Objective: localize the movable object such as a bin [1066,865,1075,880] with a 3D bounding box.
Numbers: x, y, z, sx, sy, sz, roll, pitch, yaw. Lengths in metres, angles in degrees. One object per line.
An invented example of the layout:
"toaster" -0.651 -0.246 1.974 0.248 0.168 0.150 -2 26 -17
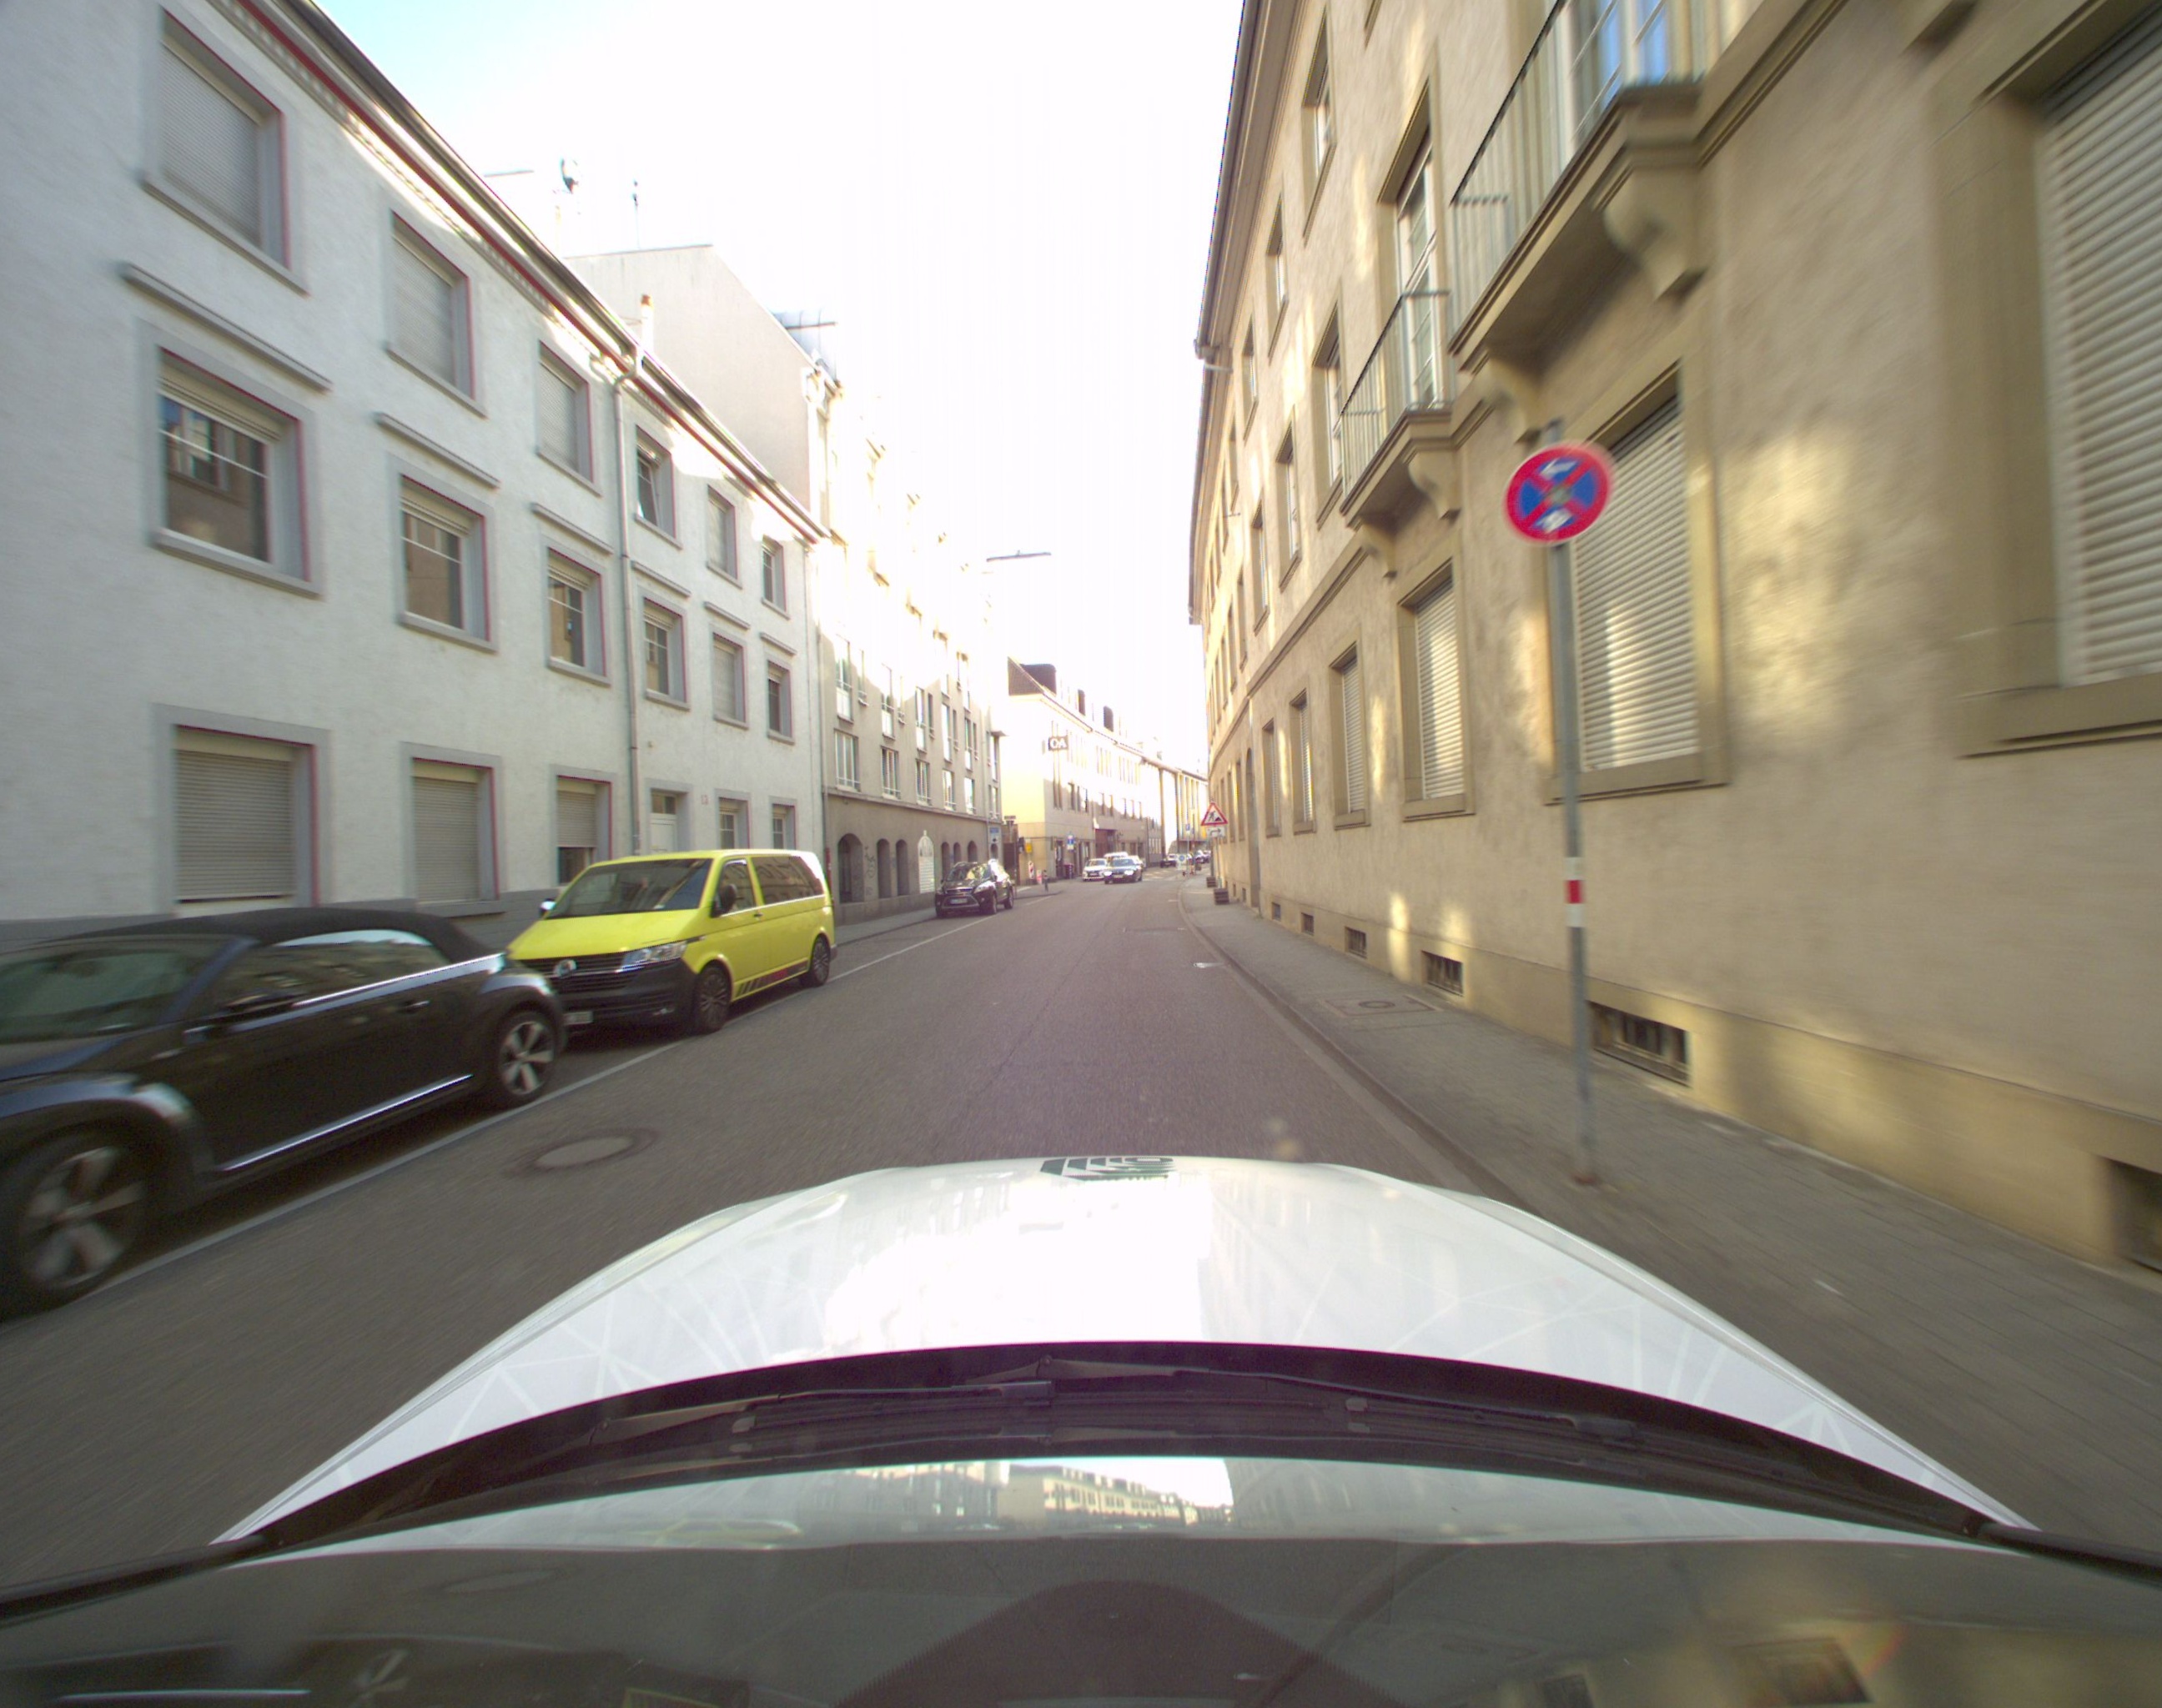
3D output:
"movable object such as a bin" -0.755 1.305 58.042 0.606 1.060 0.714 0 -1 5

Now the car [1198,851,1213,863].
"car" 16.436 0.426 107.588 1.328 1.494 3.526 -3 0 18

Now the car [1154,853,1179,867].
"car" 9.362 0.646 88.548 1.866 1.332 4.119 -3 0 18

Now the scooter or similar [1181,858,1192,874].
"scooter or similar" 7.398 0.866 57.278 0.766 1.136 0.270 0 -1 10

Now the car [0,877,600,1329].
"car" -4.674 0.981 4.204 1.813 1.486 4.076 -5 0 0

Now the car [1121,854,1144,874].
"car" 4.364 0.835 68.405 1.262 1.507 3.415 -4 0 14

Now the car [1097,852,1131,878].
"car" 2.574 0.800 62.384 1.659 1.818 4.568 -4 0 13

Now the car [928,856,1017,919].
"car" -3.374 1.014 26.205 1.731 1.711 4.198 -5 0 6

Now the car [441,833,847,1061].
"car" -4.575 0.832 9.634 1.873 1.866 4.867 -5 0 2

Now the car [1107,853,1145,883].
"car" 2.564 0.793 47.296 1.710 1.578 4.186 -2 0 -2

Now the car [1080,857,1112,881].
"car" 1.109 1.027 56.644 1.661 1.507 3.802 -4 0 8
